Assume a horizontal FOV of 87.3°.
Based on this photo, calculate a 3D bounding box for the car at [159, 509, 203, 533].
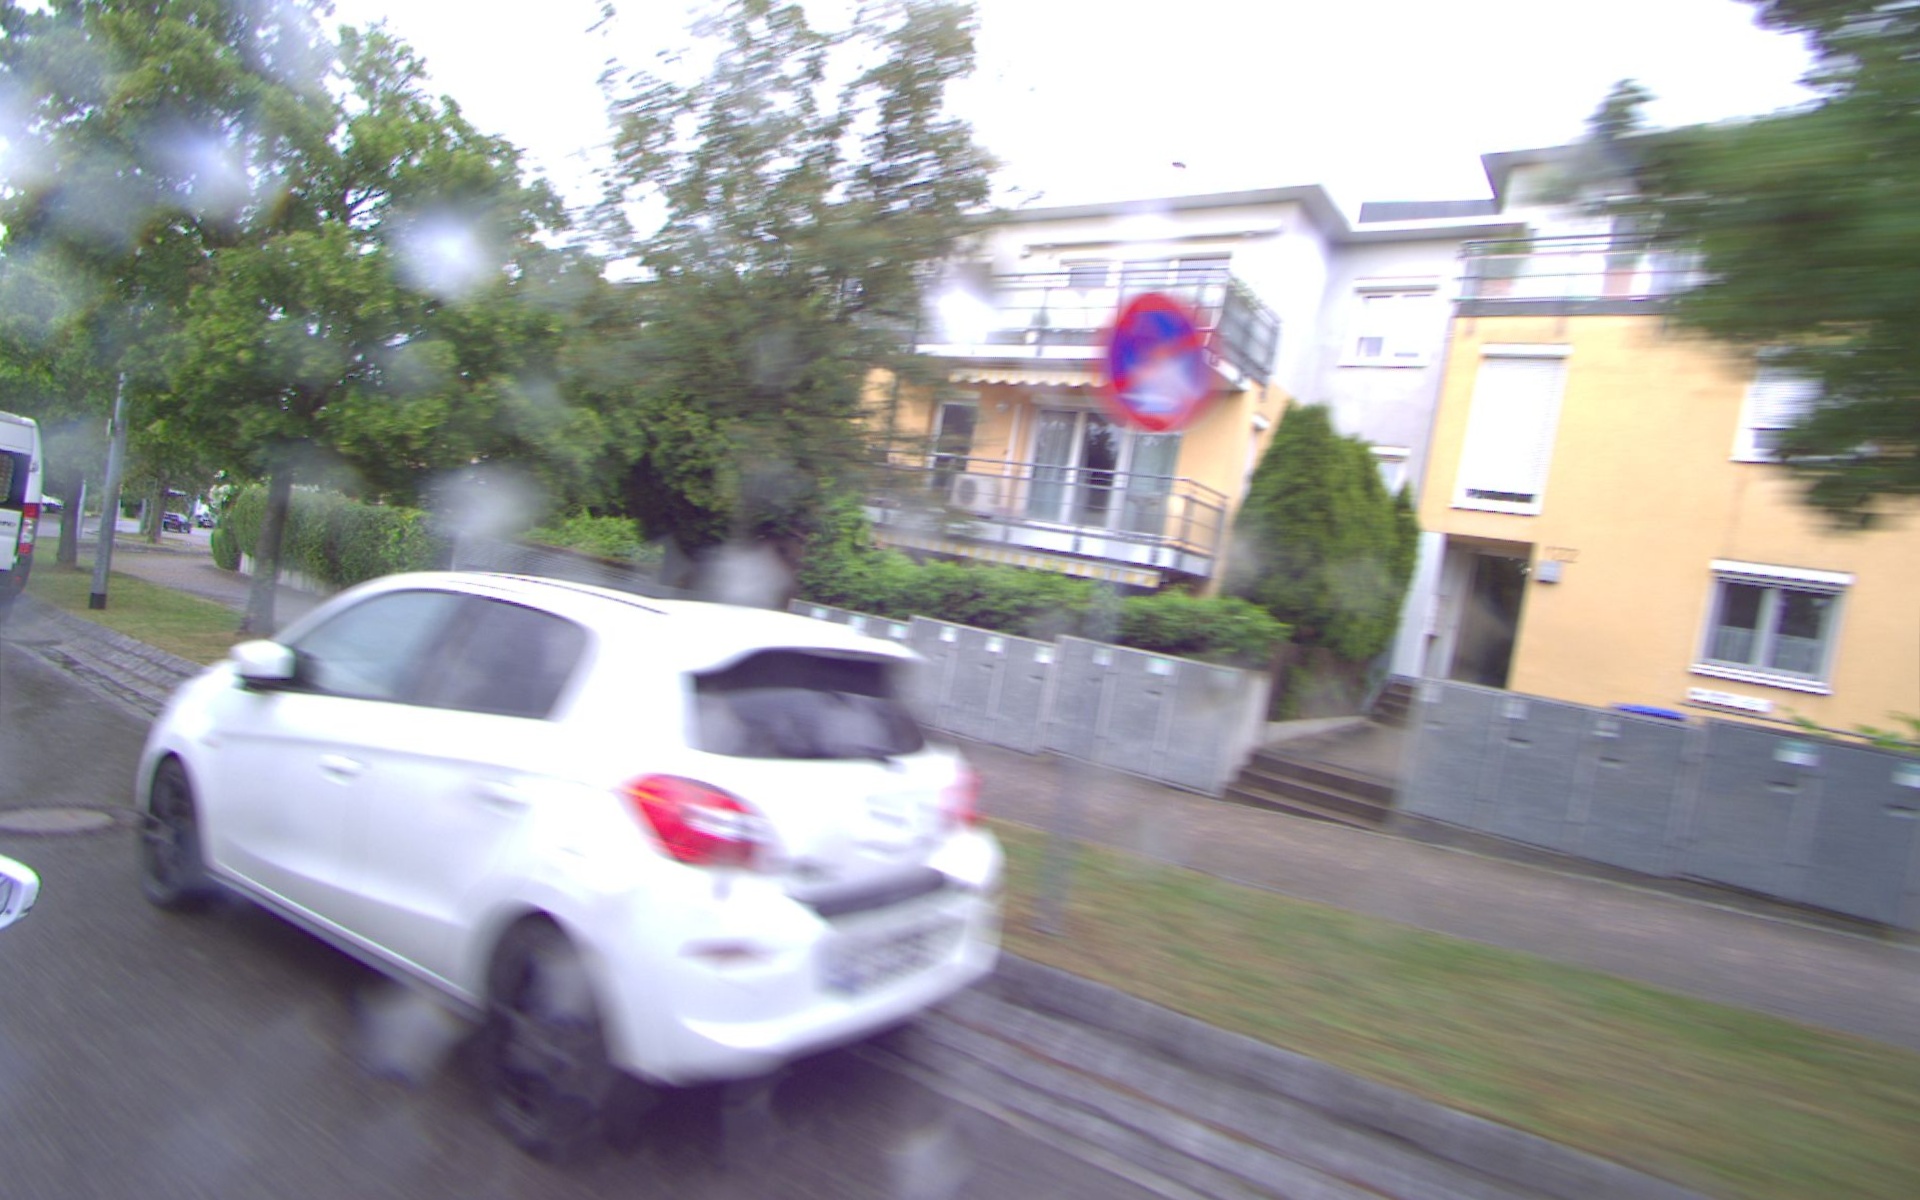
[{"bbox_3d":[-63.508,-6.386,82.056,1.670,1.570,3.678,9,0,-21],"label":"car"}]

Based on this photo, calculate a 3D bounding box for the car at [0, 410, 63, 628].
[{"bbox_3d":[-13.710,-1.262,12.911,5.427,2.496,2.118,7,-1,38],"label":"car"}]

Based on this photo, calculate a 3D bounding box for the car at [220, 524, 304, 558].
[{"bbox_3d":[-43.923,-3.711,63.394,4.063,1.585,1.984,7,0,-31],"label":"car"}]

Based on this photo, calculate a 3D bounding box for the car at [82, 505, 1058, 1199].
[{"bbox_3d":[-1.689,0.613,3.943,3.666,1.520,1.608,7,-1,33],"label":"car"}]
